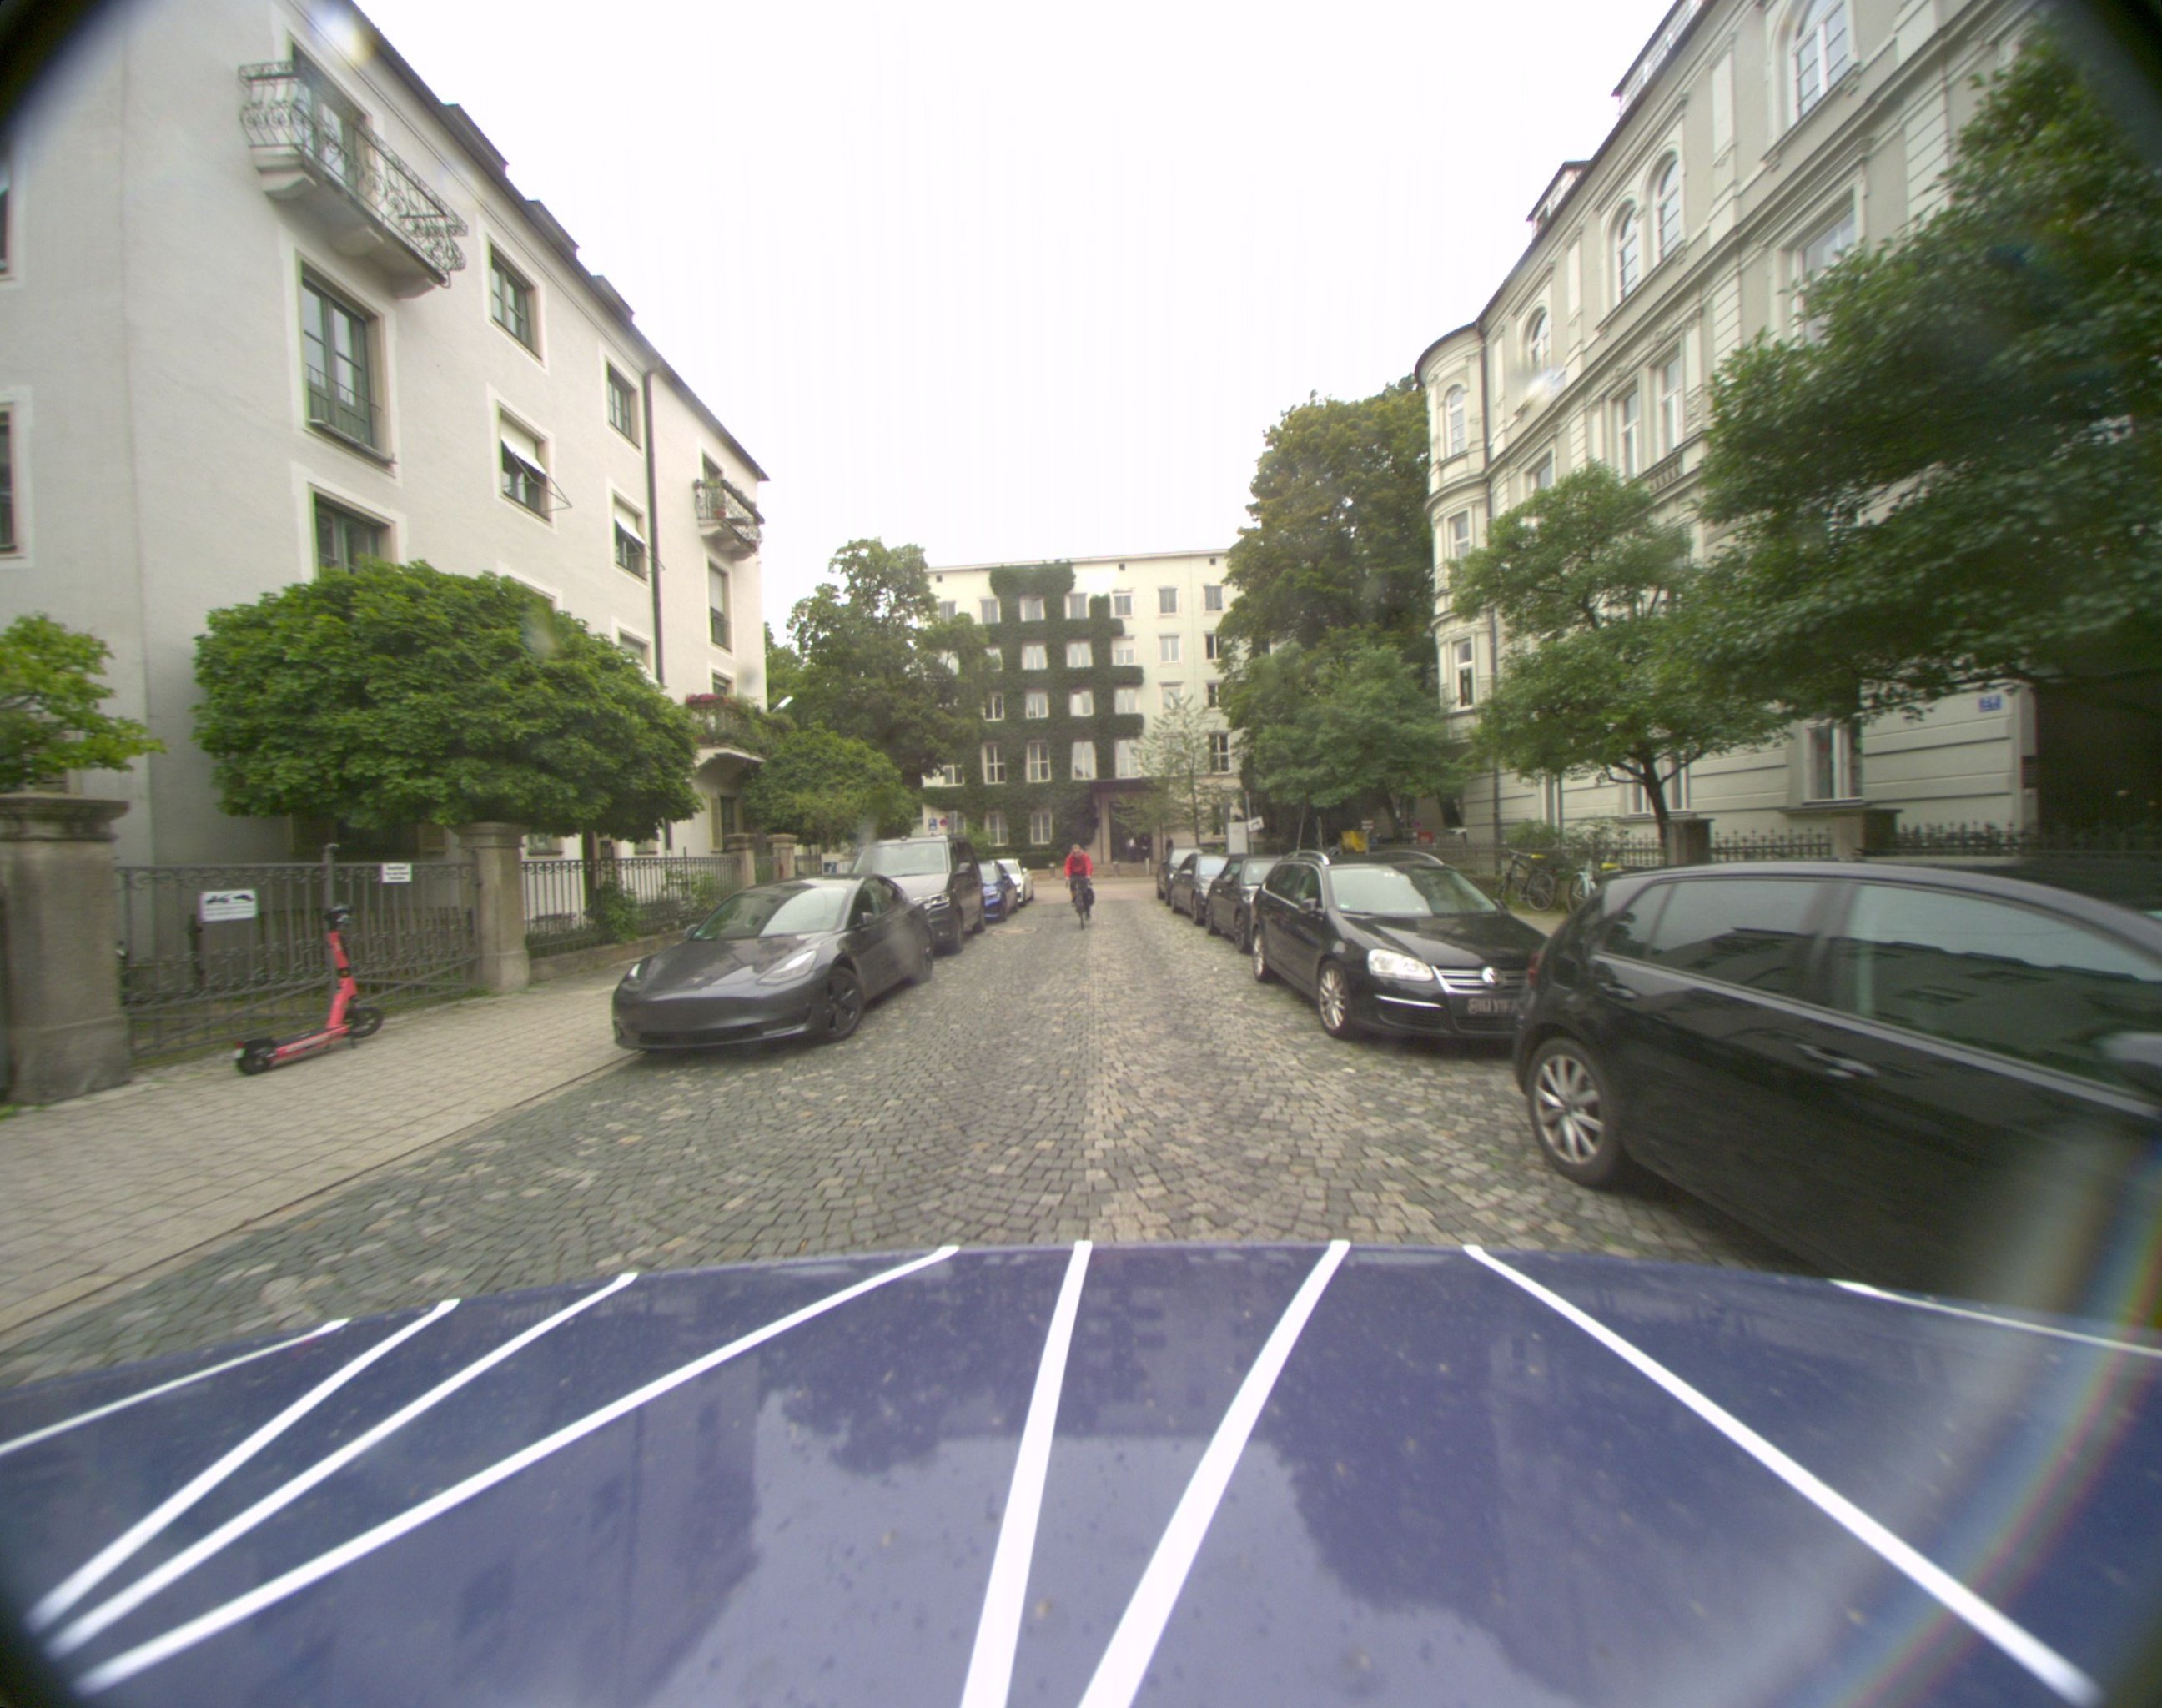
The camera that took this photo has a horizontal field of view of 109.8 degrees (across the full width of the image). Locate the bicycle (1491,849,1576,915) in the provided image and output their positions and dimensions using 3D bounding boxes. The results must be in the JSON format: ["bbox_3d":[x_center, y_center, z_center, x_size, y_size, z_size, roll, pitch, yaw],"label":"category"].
[{"bbox_3d":[8.009,0.458,13.526,0.464,1.045,1.695,-6,1,1],"label":"bicycle"}]

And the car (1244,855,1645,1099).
[{"bbox_3d":[2.824,0.805,7.158,1.814,1.490,4.510,-1,1,3],"label":"car"}]

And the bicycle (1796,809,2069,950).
[{"bbox_3d":[7.828,0.192,7.125,0.510,1.118,1.790,-6,1,1],"label":"bicycle"}]

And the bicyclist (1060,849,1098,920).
[{"bbox_3d":[-0.034,0.591,15.164,0.648,1.351,0.656,-4,1,0],"label":"bicyclist"}]

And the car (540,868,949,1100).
[{"bbox_3d":[-2.902,1.019,7.915,1.942,1.457,4.532,-4,1,3],"label":"car"}]

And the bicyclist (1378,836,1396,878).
[{"bbox_3d":[12.470,0.103,30.922,0.544,1.681,0.445,-1,2,1],"label":"bicyclist"}]

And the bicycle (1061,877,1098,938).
[{"bbox_3d":[-0.013,1.043,15.278,0.636,1.021,1.955,-3,1,1],"label":"bicycle"}]

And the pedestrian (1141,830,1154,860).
[{"bbox_3d":[4.421,-0.596,50.199,0.701,1.905,0.863,-4,2,4],"label":"pedestrian"}]

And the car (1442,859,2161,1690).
[{"bbox_3d":[2.979,0.839,2.012,1.822,1.500,4.641,1,1,0],"label":"car"}]

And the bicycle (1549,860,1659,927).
[{"bbox_3d":[8.008,0.574,11.733,0.439,0.868,1.790,-6,1,1],"label":"bicycle"}]

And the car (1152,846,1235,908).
[{"bbox_3d":[3.177,0.581,22.199,1.744,1.572,4.281,-1,1,0],"label":"car"}]

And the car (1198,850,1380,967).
[{"bbox_3d":[3.116,0.724,12.257,1.744,1.490,4.133,-1,1,-1],"label":"car"}]

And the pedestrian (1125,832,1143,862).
[{"bbox_3d":[3.499,-0.483,50.169,0.703,1.905,0.861,-5,2,-30],"label":"pedestrian"}]

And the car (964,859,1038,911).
[{"bbox_3d":[-2.397,0.890,23.740,1.744,1.367,4.281,-1,1,1],"label":"car"}]

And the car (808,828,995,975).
[{"bbox_3d":[-2.890,0.650,13.514,1.999,1.958,4.965,-5,1,0],"label":"car"}]

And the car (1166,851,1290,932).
[{"bbox_3d":[3.065,0.711,16.757,1.744,1.490,4.280,-1,1,-2],"label":"car"}]

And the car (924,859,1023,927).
[{"bbox_3d":[-2.502,0.856,18.673,1.744,1.367,4.181,-1,1,1],"label":"car"}]

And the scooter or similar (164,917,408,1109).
[{"bbox_3d":[-6.298,1.195,6.133,0.444,1.209,1.470,3,1,-2],"label":"scooter or similar"}]

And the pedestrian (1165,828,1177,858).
[{"bbox_3d":[5.940,-0.751,50.105,0.665,1.905,0.863,-4,2,9],"label":"pedestrian"}]
